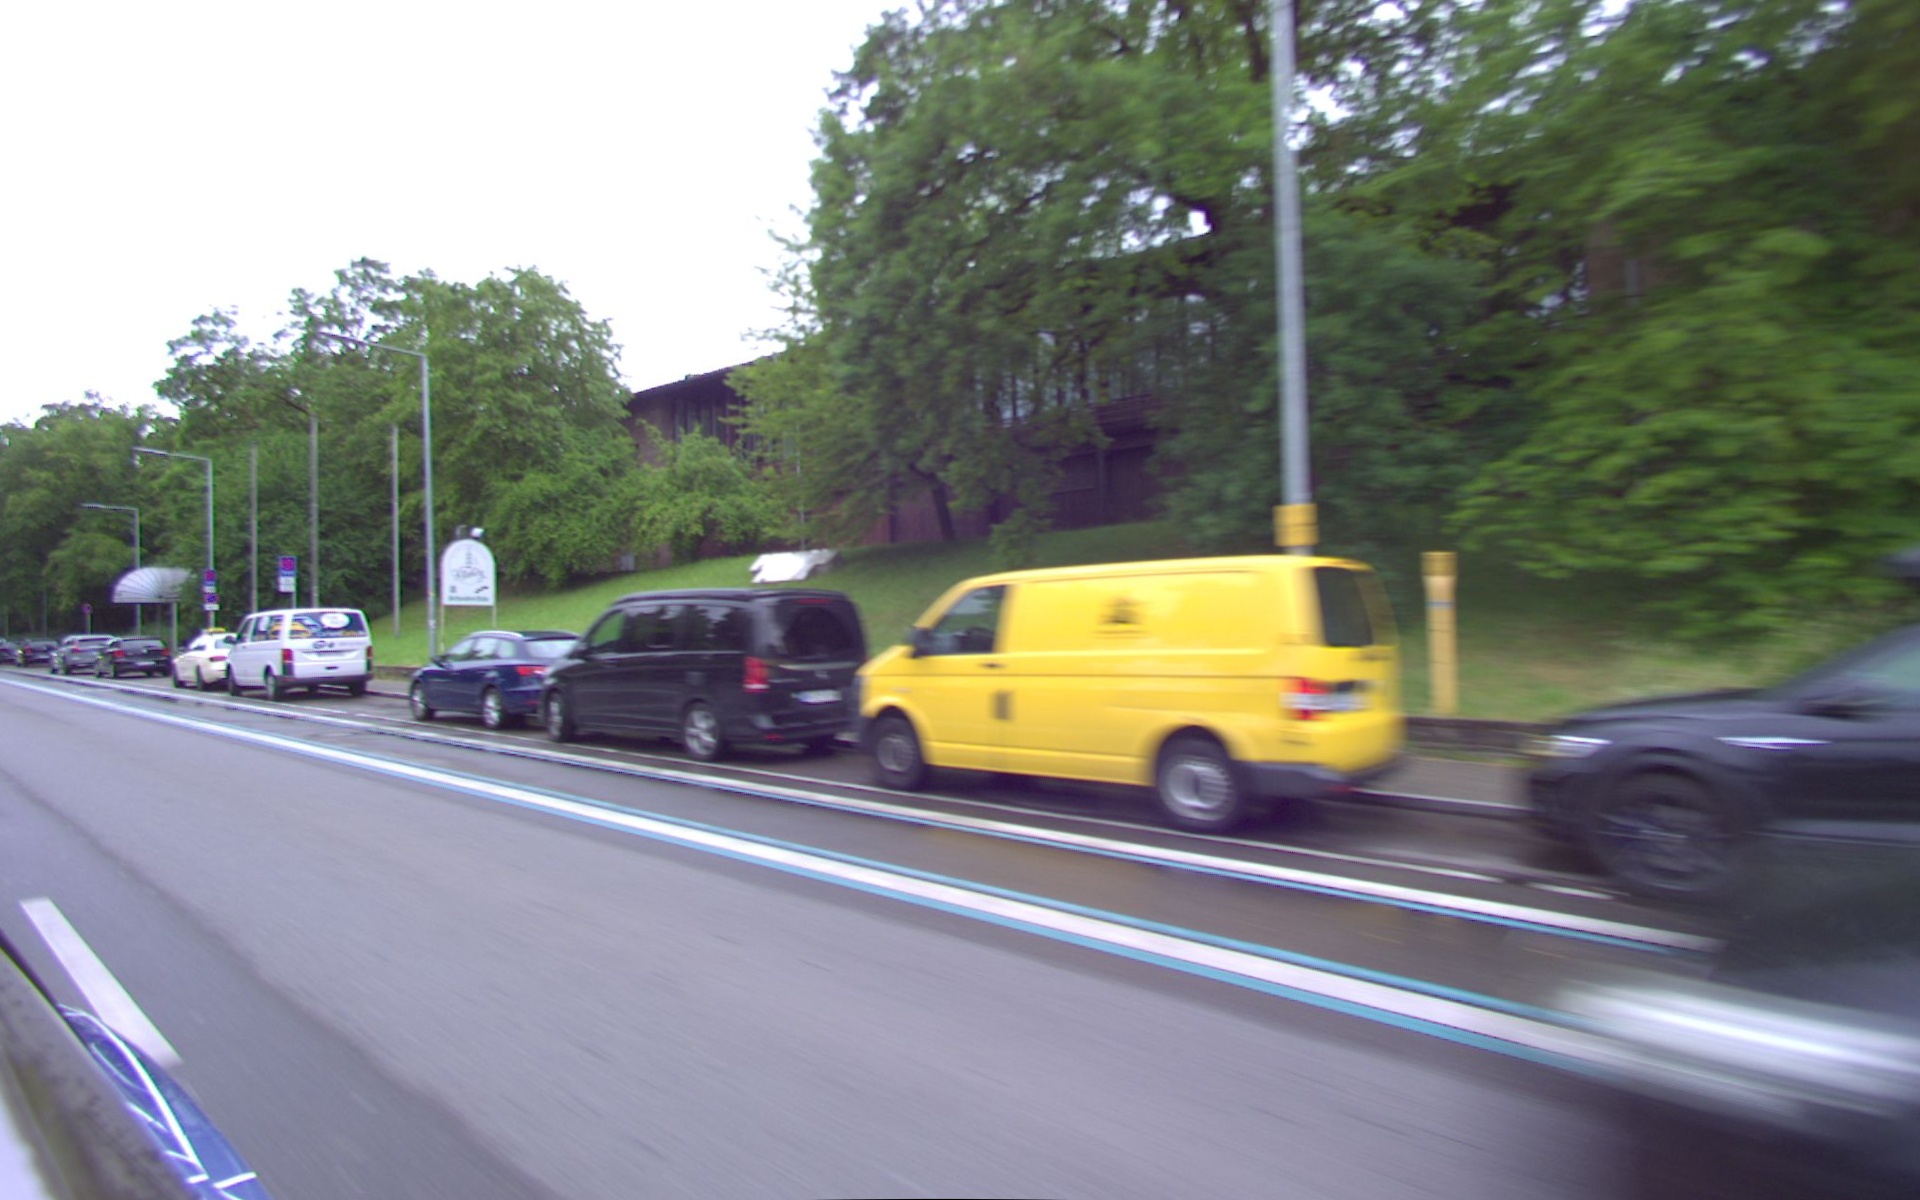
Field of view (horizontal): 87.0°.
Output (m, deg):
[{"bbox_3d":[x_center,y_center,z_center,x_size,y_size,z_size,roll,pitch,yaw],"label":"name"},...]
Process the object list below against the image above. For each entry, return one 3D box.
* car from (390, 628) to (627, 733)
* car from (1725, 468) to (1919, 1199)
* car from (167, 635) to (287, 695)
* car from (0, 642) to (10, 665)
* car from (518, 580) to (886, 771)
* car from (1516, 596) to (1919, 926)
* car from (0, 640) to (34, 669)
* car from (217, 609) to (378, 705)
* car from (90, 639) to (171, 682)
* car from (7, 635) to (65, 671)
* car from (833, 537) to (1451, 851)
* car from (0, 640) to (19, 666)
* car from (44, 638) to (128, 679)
[{"bbox_3d":[-7.374,1.207,16.312,4.607,1.470,1.666,-2,-3,40],"label":"car"},{"bbox_3d":[3.295,0.597,0.807,4.148,1.630,1.693,-2,-3,41],"label":"car"},{"bbox_3d":[-19.822,1.693,27.293,4.594,1.459,1.708,-2,-2,42],"label":"car"},{"bbox_3d":[-64.482,3.588,67.076,4.124,1.492,1.799,-4,-3,41],"label":"car"},{"bbox_3d":[-3.405,0.850,12.646,5.201,1.935,1.857,-2,-3,41],"label":"car"},{"bbox_3d":[5.286,0.735,5.004,4.150,1.516,1.691,-2,-2,43],"label":"car"},{"bbox_3d":[-54.403,3.128,57.793,4.540,1.554,1.799,-4,-3,41],"label":"car"},{"bbox_3d":[-15.332,1.258,23.317,4.731,1.992,1.853,-2,-2,40],"label":"car"},{"bbox_3d":[-28.972,2.084,35.313,3.584,1.382,1.658,-2,-2,42],"label":"car"},{"bbox_3d":[-47.444,2.732,51.930,3.998,1.779,1.799,-4,-3,41],"label":"car"},{"bbox_3d":[1.269,0.663,8.576,4.842,1.928,1.972,-2,-3,41],"label":"car"},{"bbox_3d":[-59.940,3.325,62.863,4.232,1.582,1.799,-4,-3,41],"label":"car"},{"bbox_3d":[-34.138,2.240,39.482,4.324,1.479,1.772,-2,-2,39],"label":"car"}]
